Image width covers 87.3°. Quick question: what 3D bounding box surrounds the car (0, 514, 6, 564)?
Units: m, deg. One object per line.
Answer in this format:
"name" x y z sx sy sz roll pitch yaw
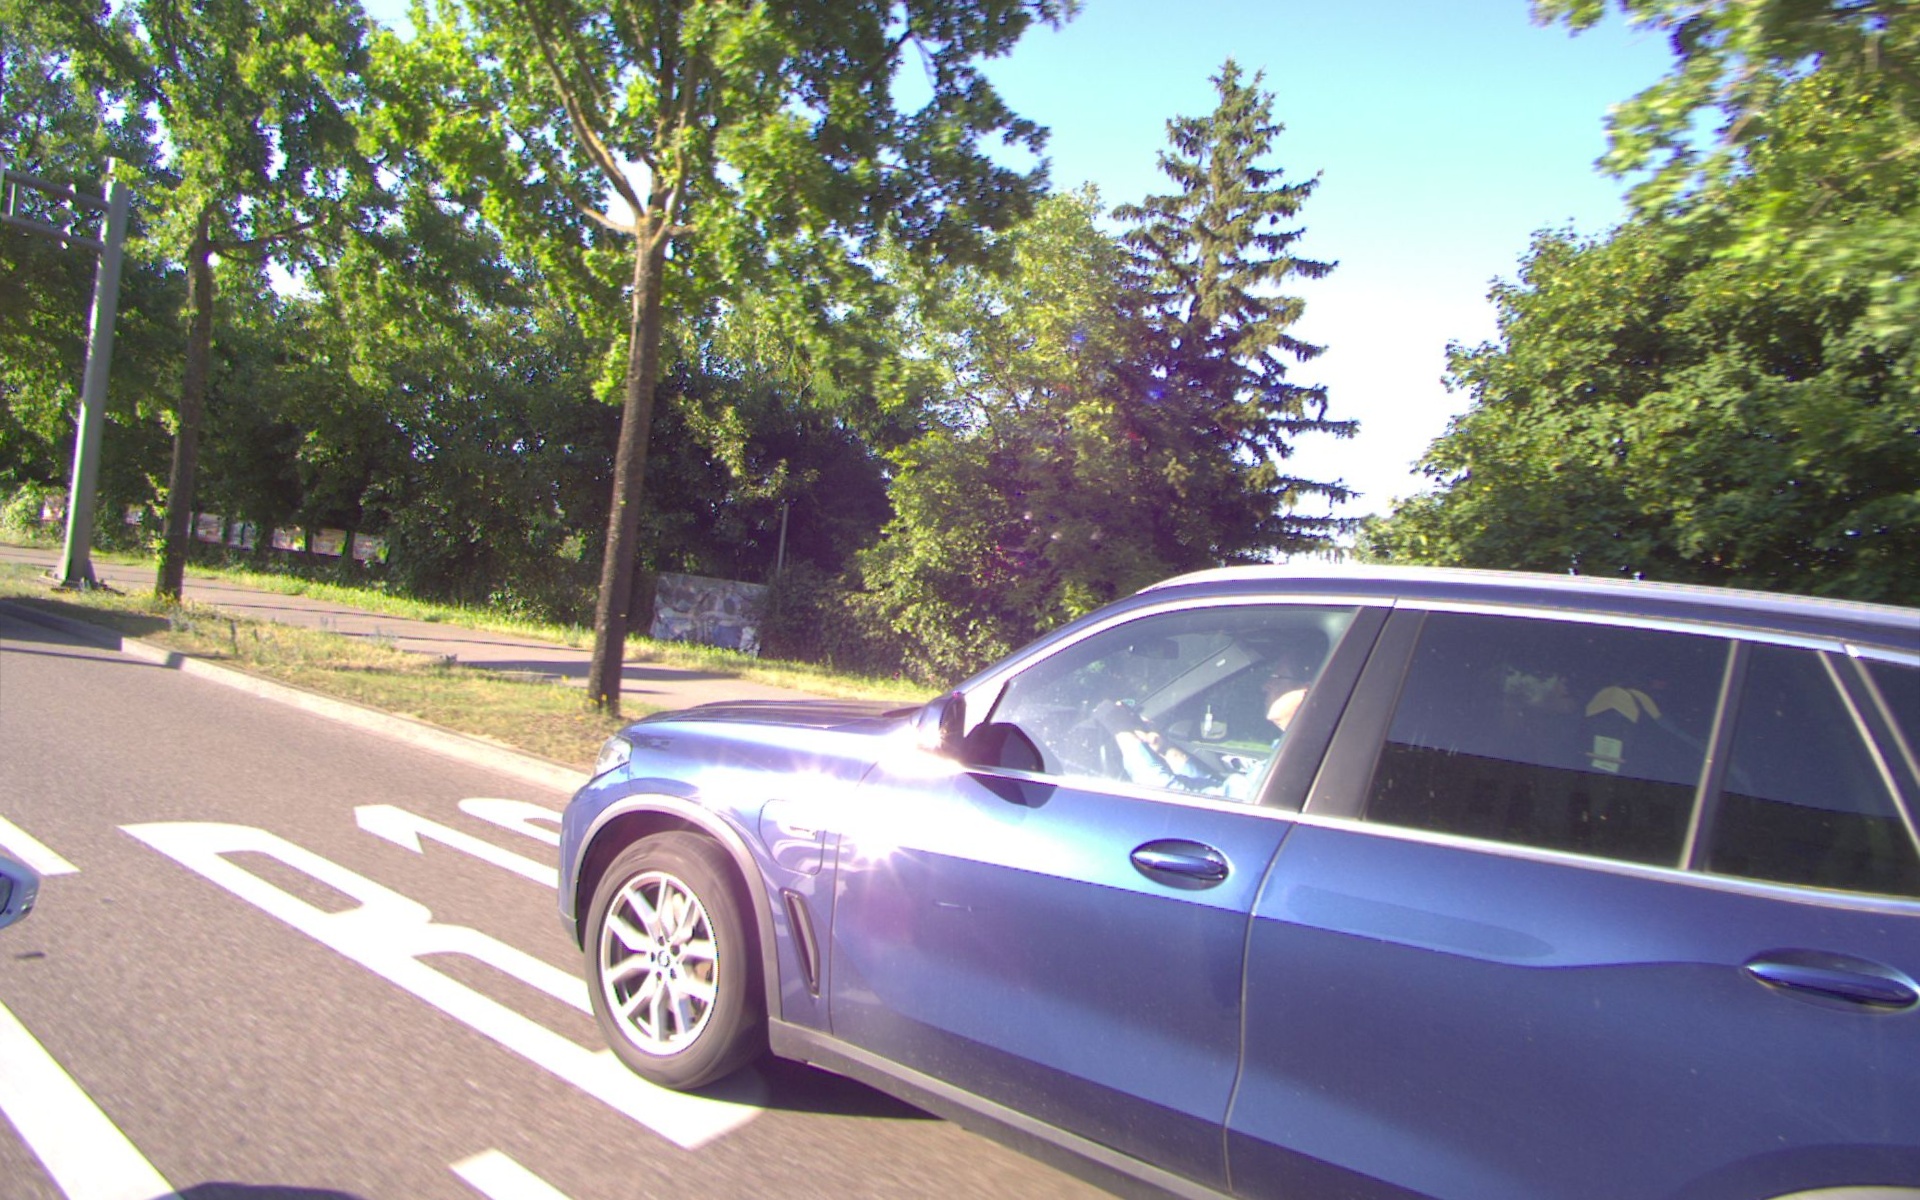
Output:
"car" -13.605 -0.638 12.261 4.551 1.353 1.856 7 -1 34

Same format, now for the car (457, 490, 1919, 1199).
"car" 0.816 0.791 3.042 4.623 1.747 1.958 6 -1 33
